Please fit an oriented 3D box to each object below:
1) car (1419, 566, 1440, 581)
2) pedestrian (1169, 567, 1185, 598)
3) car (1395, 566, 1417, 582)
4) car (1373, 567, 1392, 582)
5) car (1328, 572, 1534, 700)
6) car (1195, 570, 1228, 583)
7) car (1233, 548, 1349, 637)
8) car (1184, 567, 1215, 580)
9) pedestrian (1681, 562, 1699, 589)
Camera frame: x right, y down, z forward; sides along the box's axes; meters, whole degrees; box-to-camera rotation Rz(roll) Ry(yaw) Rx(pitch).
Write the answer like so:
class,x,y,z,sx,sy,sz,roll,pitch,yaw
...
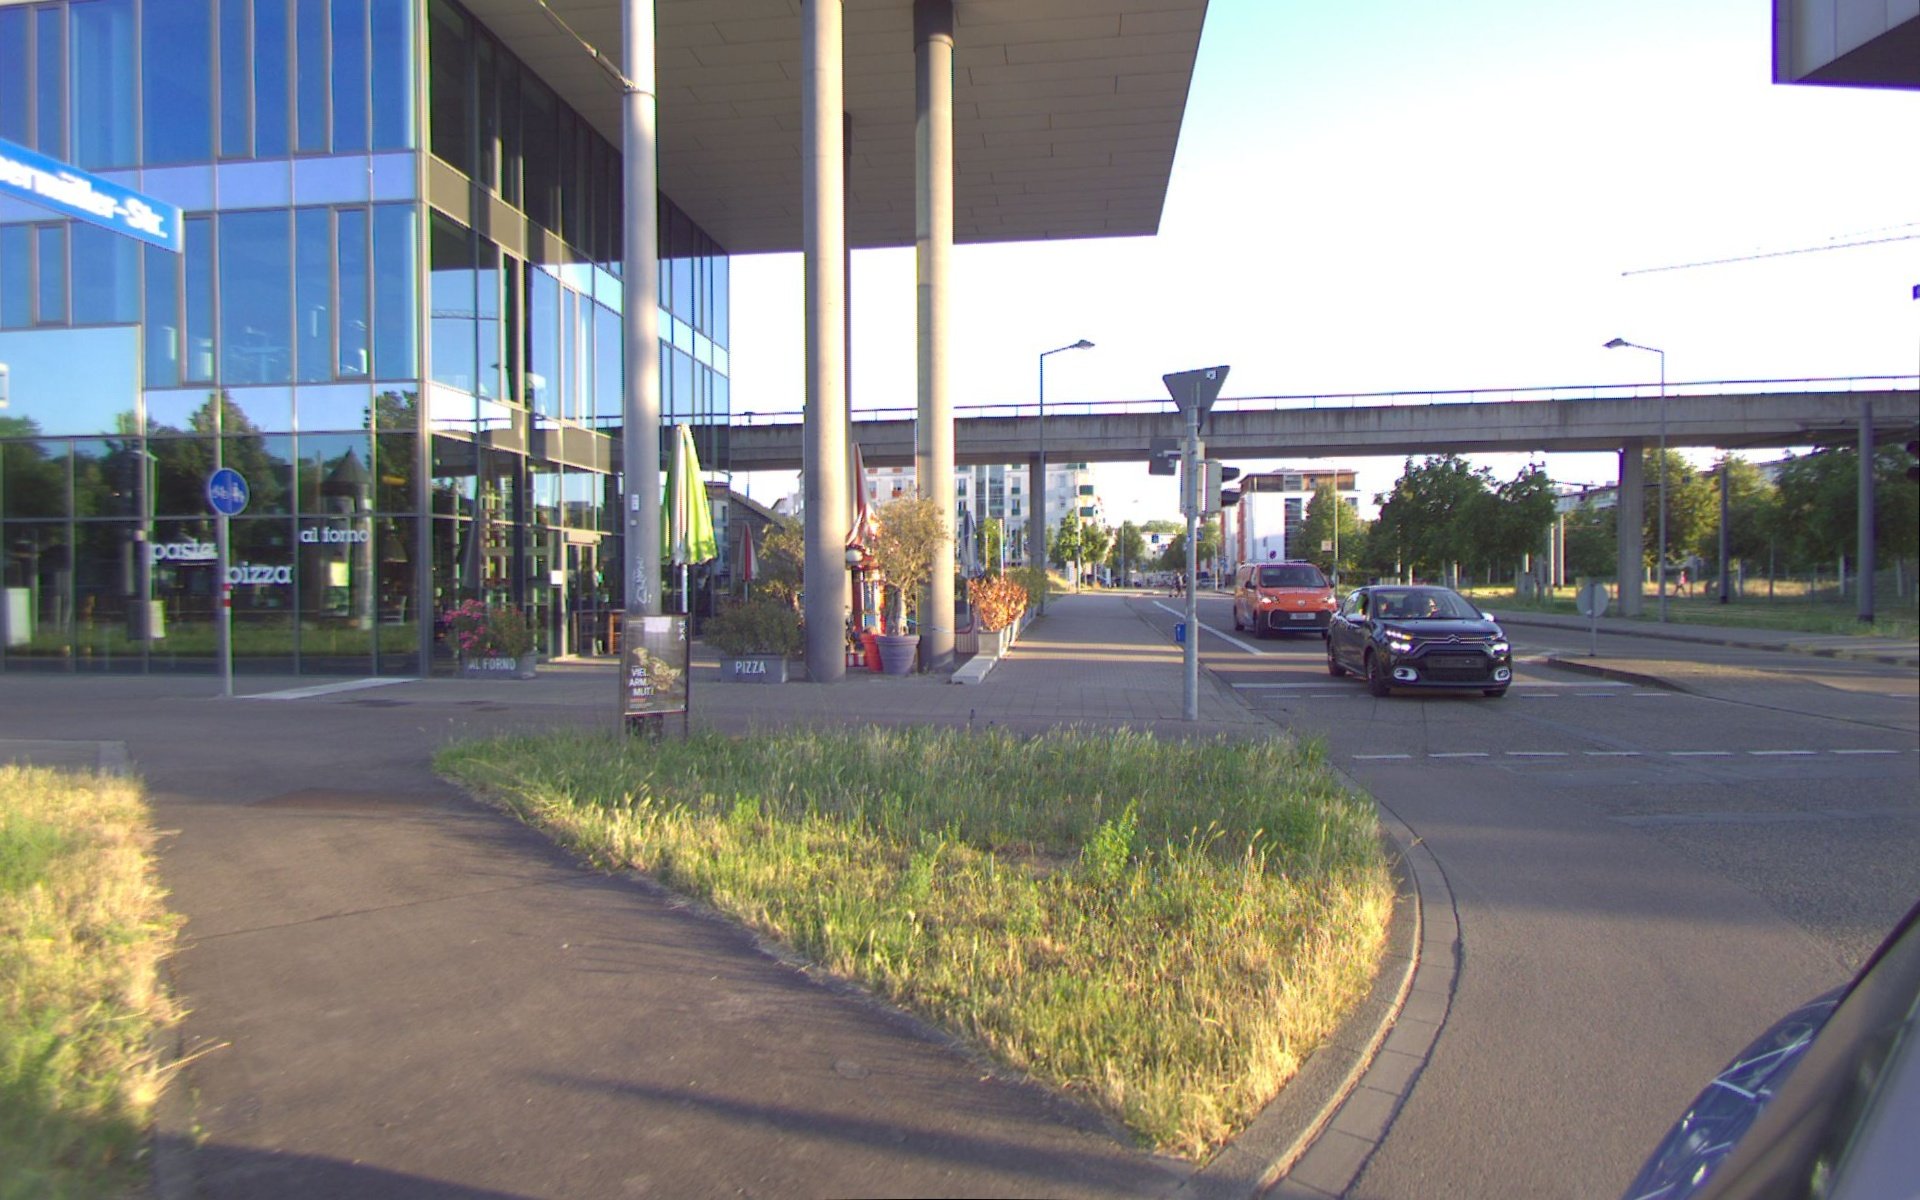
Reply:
class,x,y,z,sx,sy,sz,roll,pitch,yaw
car,54.125,-3.036,116.782,1.848,1.742,3.821,0,1,20
pedestrian,14.480,-1.167,67.506,0.948,2.038,0.625,0,2,26
car,51.719,-3.018,117.435,1.847,1.742,3.825,0,1,17
car,49.320,-2.999,118.214,1.849,1.742,3.821,0,1,20
car,6.553,0.390,14.554,1.733,1.571,4.060,-1,1,11
car,34.145,-3.189,137.490,4.320,1.578,1.835,-1,2,11
car,8.338,-0.231,25.969,1.899,2.015,4.813,-1,1,7
car,39.521,-4.356,167.130,4.665,2.038,1.997,-1,2,6
pedestrian,44.137,-1.490,61.200,0.770,1.631,0.414,0,1,21
